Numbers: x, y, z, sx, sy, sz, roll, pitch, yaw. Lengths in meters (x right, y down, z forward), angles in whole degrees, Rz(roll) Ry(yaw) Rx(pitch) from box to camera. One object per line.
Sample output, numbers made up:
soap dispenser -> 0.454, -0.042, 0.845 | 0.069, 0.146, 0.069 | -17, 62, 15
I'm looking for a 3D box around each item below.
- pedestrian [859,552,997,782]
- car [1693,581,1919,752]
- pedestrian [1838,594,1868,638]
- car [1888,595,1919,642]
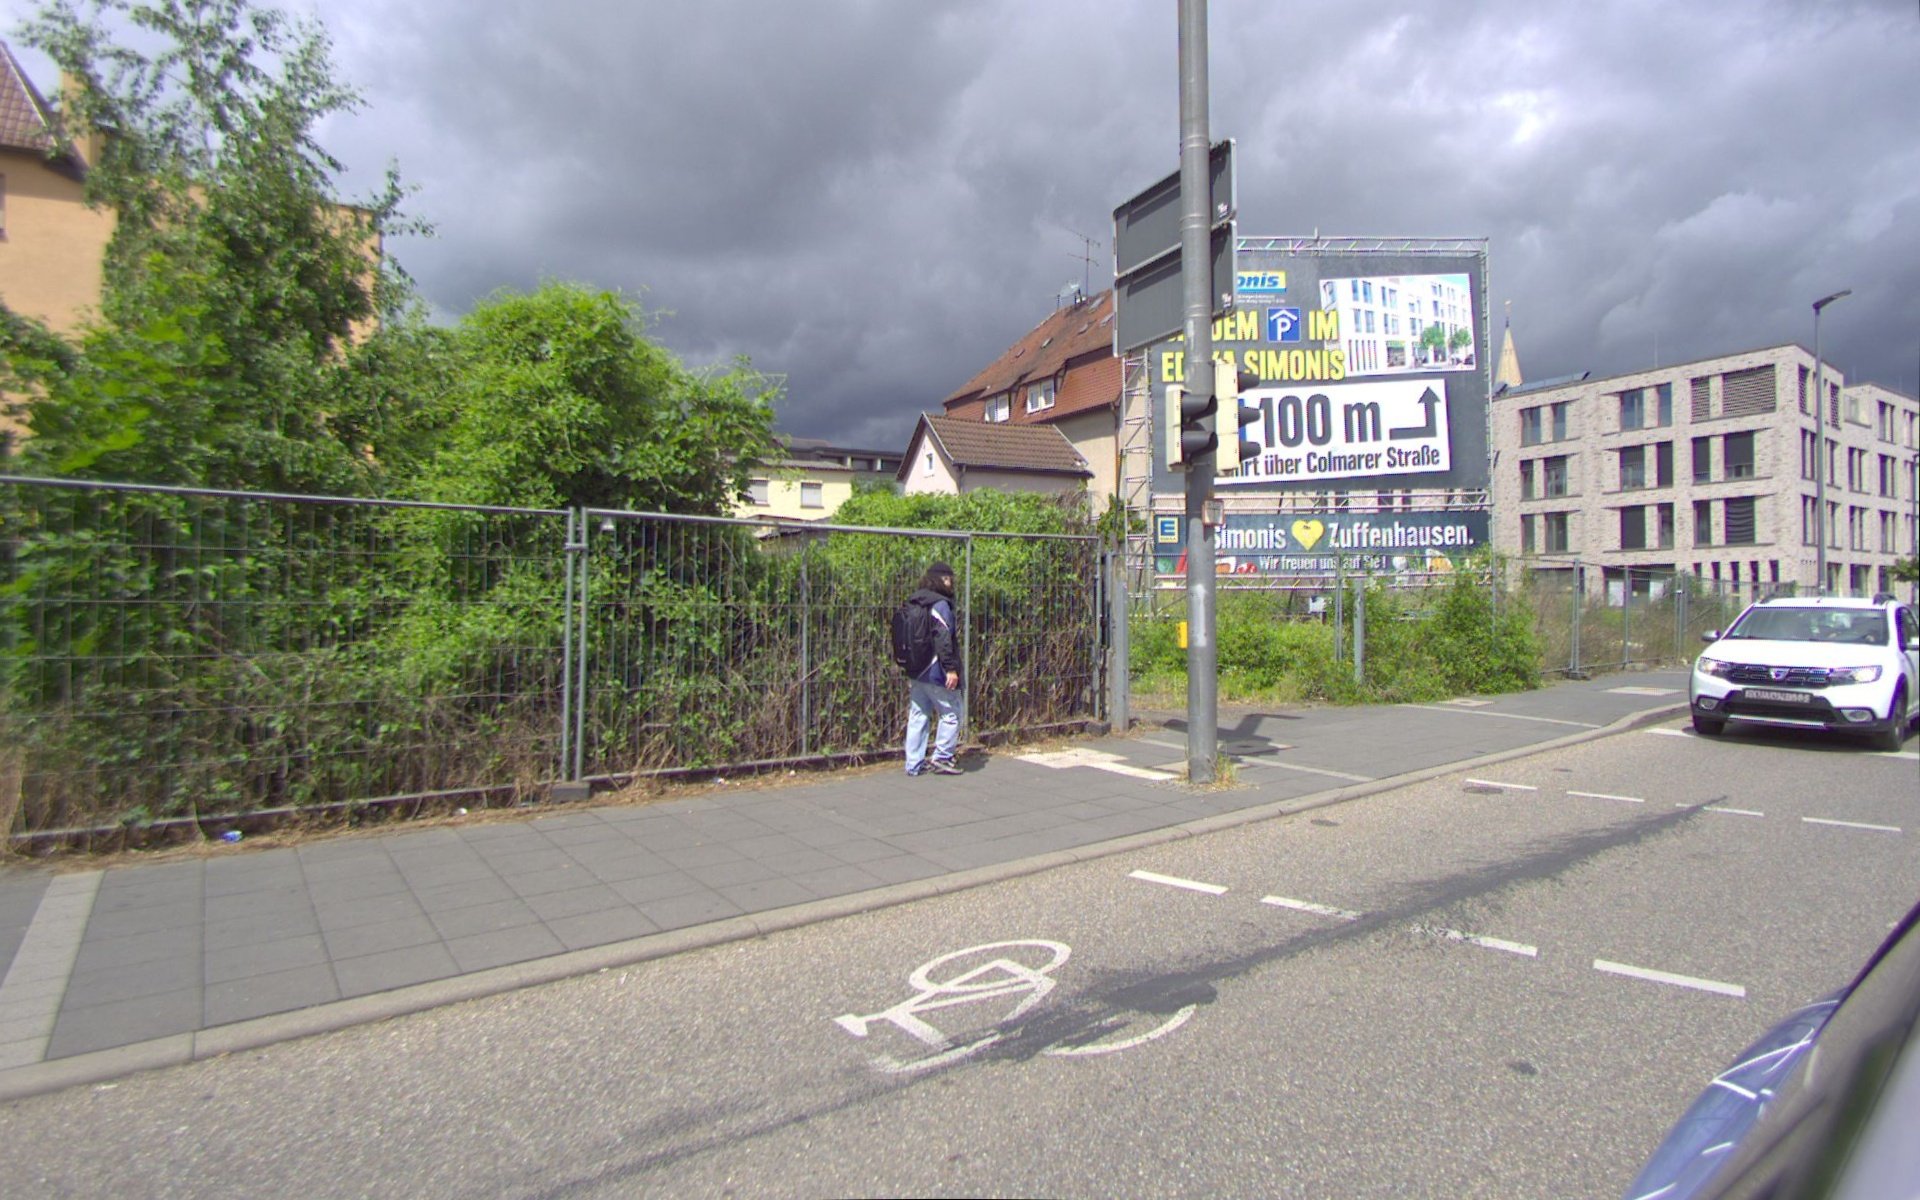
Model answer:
pedestrian -> -0.258, 0.483, 7.831 | 0.762, 1.663, 0.768 | 2, 0, -29
car -> 9.785, 0.603, 11.321 | 3.726, 1.569, 1.718 | 0, 1, -40
pedestrian -> 31.363, 0.561, 35.549 | 0.769, 1.531, 0.673 | 1, 0, -41
car -> 32.732, 0.603, 34.019 | 3.726, 1.441, 1.678 | -1, 2, -39
